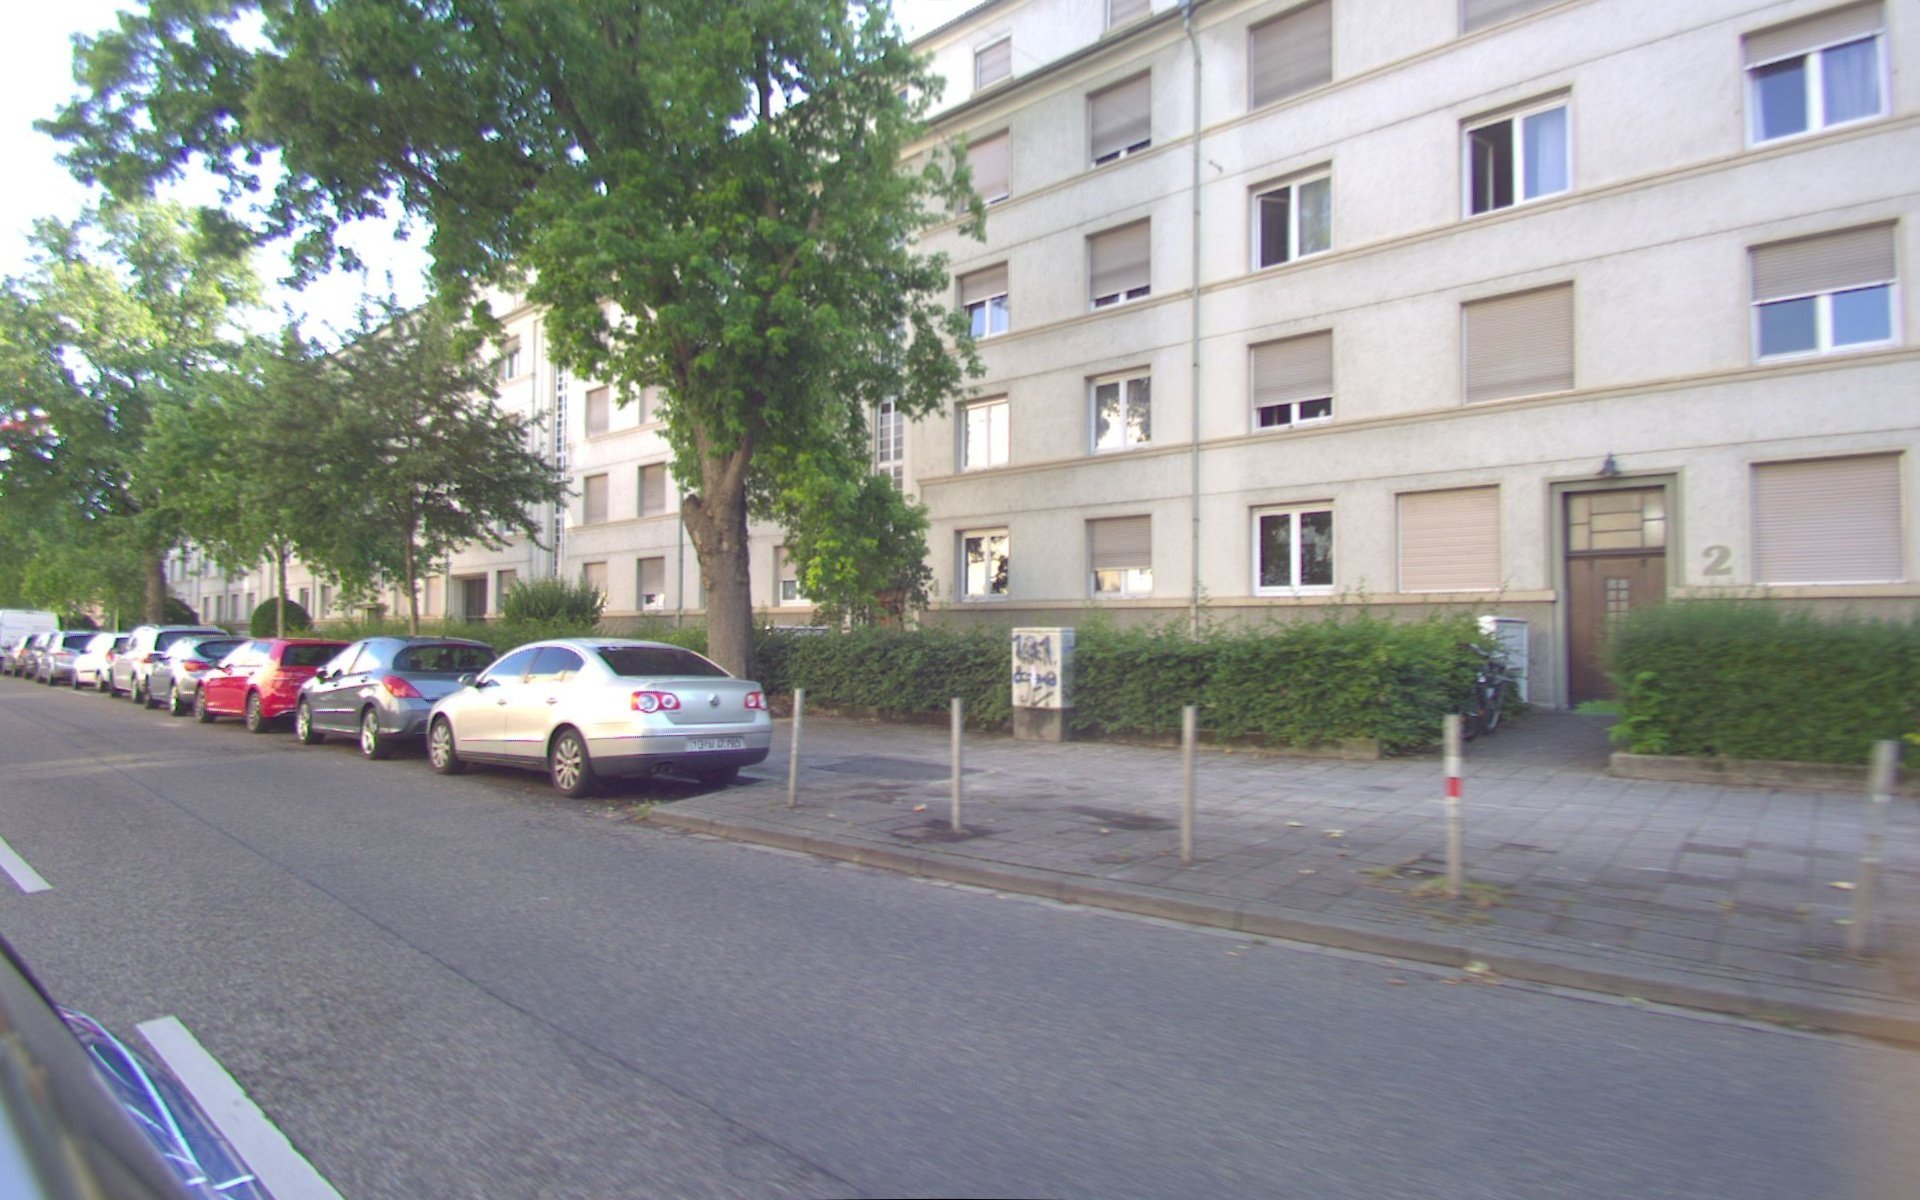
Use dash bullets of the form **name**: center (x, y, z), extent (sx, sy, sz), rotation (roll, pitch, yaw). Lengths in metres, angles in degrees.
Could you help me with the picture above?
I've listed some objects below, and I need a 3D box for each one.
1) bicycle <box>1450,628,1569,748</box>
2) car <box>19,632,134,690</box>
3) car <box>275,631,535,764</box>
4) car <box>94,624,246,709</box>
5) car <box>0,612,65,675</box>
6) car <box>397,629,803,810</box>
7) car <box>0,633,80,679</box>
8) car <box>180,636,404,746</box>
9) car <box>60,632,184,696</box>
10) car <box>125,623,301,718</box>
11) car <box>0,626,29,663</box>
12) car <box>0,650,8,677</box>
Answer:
- **bicycle**: center (6.484, 0.941, 11.837), extent (0.759, 1.133, 3.051), rotation (-1, 0, 37)
- **car**: center (-26.870, 1.862, 30.714), extent (5.054, 1.570, 1.851), rotation (-3, -7, 41)
- **car**: center (-7.413, 1.163, 13.356), extent (4.127, 1.450, 1.686), rotation (-1, -2, 41)
- **car**: center (-18.350, 1.437, 23.415), extent (4.972, 1.690, 1.896), rotation (-1, 0, 41)
- **car**: center (-39.153, 1.752, 41.878), extent (6.162, 2.464, 2.333), rotation (-1, -3, 41)
- **car**: center (-3.847, 1.025, 10.338), extent (4.706, 1.362, 1.752), rotation (-1, 0, 40)
- **car**: center (-34.547, 2.070, 37.762), extent (4.343, 1.570, 1.936), rotation (-1, -3, 41)
- **car**: center (-11.081, 1.416, 16.703), extent (3.994, 1.570, 1.853), rotation (-1, -4, 38)
- **car**: center (-22.663, 1.728, 27.317), extent (4.099, 1.570, 1.851), rotation (-2, -7, 41)
- **car**: center (-14.686, 1.406, 19.805), extent (4.495, 1.570, 1.851), rotation (-7, -5, 41)
- **car**: center (-43.649, 2.000, 45.813), extent (3.818, 1.586, 1.689), rotation (-3, -8, 42)
- **car**: center (-51.631, 3.382, 53.017), extent (4.649, 1.365, 1.856), rotation (-1, 5, 39)
